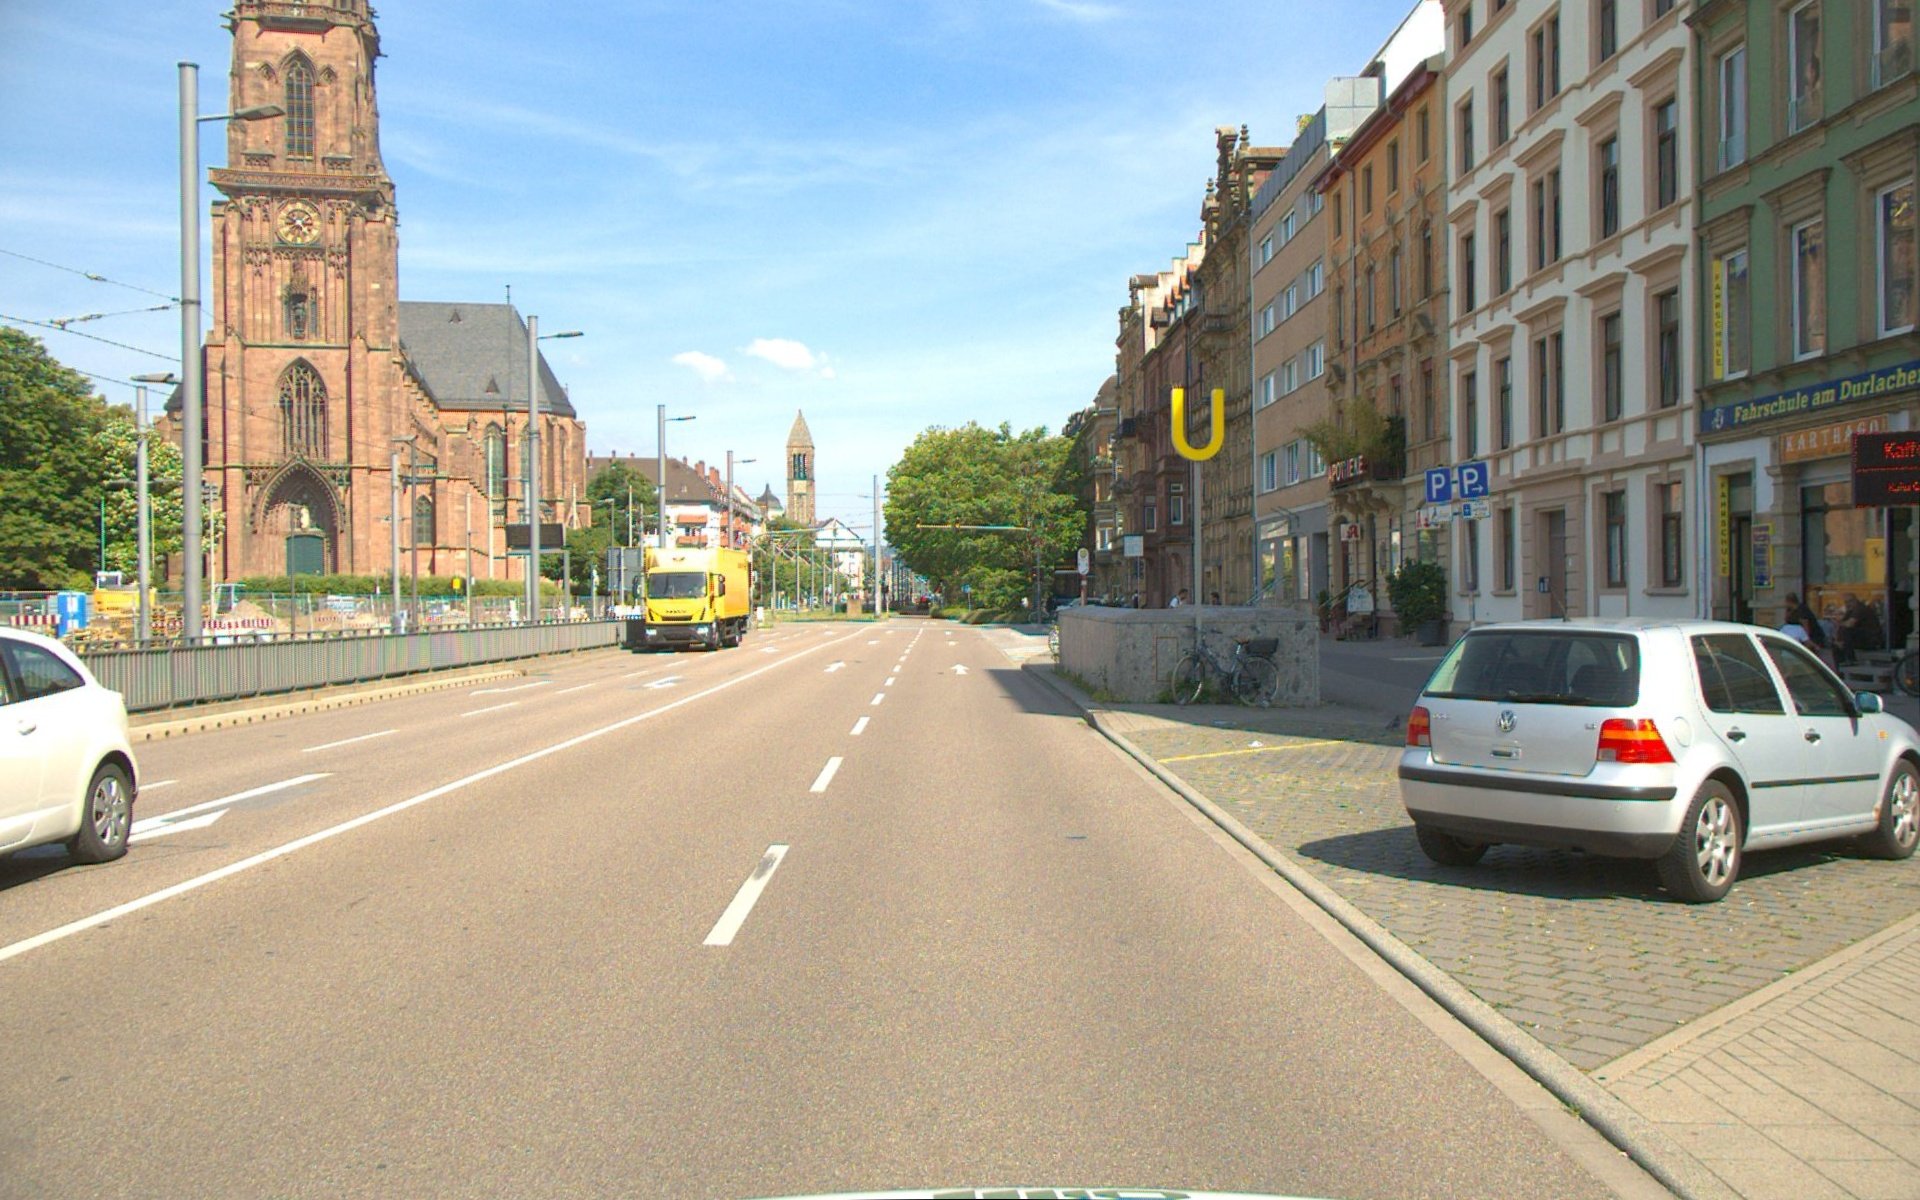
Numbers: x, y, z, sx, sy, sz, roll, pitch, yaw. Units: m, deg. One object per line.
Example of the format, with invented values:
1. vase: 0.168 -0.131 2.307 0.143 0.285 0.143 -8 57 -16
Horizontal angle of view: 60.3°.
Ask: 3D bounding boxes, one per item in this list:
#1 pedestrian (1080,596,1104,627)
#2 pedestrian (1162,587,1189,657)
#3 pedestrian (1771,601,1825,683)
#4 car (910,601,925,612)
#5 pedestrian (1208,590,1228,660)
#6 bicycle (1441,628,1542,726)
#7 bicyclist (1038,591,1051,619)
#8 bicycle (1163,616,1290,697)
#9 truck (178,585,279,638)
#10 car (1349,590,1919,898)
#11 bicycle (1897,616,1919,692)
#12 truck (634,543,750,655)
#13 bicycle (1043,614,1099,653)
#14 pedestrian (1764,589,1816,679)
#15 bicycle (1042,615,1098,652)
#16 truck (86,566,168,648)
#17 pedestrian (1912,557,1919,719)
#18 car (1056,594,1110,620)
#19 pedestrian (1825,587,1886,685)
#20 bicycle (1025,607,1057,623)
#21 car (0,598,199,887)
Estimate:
1. pedestrian: 5.679 0.490 71.076 0.928 1.348 0.822 -1 0 -3
2. pedestrian: 5.244 0.539 40.261 0.541 1.694 0.525 -1 0 -1
3. pedestrian: 12.412 0.616 24.515 0.514 1.188 0.530 -1 0 -1
4. car: -5.497 0.837 214.604 1.861 1.400 3.813 -1 0 -3
5. pedestrian: 6.253 0.600 40.116 0.363 1.694 0.525 -1 0 -1
6. bicycle: 6.554 0.930 20.483 0.570 1.114 1.819 -3 -1 -1
7. bicyclist: 4.909 0.269 96.323 0.628 1.619 0.481 -1 2 -16
8. bicycle: 3.811 0.801 23.723 1.707 1.113 0.597 -1 1 -1
9. truck: -39.171 0.602 88.644 4.307 2.725 2.387 -1 0 3
10. car: 4.276 0.730 9.935 3.963 1.465 1.787 2 0 -40
11. bicycle: 12.889 0.714 21.403 0.404 0.981 1.779 -3 0 -2
12. truck: -8.948 -0.015 56.153 2.492 3.356 9.026 -3 0 -1
13. bicycle: 2.908 0.876 43.348 1.431 0.993 0.415 -1 2 -1
14. pedestrian: 12.819 0.519 25.546 0.514 1.378 0.530 -1 0 -1
15. bicycle: 2.908 0.887 43.794 1.431 0.963 0.415 -1 -1 -1
16. truck: -38.964 0.319 77.545 2.979 3.631 5.999 -1 0 -23
17. pedestrian: 10.829 0.409 17.923 0.596 1.776 0.703 -1 0 -1
18. car: 9.122 0.539 123.294 3.905 1.780 2.001 -1 2 1
19. pedestrian: 13.047 0.518 24.106 0.514 1.398 0.646 -1 0 -1
20. bicycle: 4.732 0.862 96.286 1.789 0.878 0.481 -1 2 -16
21. car: -5.672 0.783 8.342 1.719 1.422 4.124 -4 1 -1
